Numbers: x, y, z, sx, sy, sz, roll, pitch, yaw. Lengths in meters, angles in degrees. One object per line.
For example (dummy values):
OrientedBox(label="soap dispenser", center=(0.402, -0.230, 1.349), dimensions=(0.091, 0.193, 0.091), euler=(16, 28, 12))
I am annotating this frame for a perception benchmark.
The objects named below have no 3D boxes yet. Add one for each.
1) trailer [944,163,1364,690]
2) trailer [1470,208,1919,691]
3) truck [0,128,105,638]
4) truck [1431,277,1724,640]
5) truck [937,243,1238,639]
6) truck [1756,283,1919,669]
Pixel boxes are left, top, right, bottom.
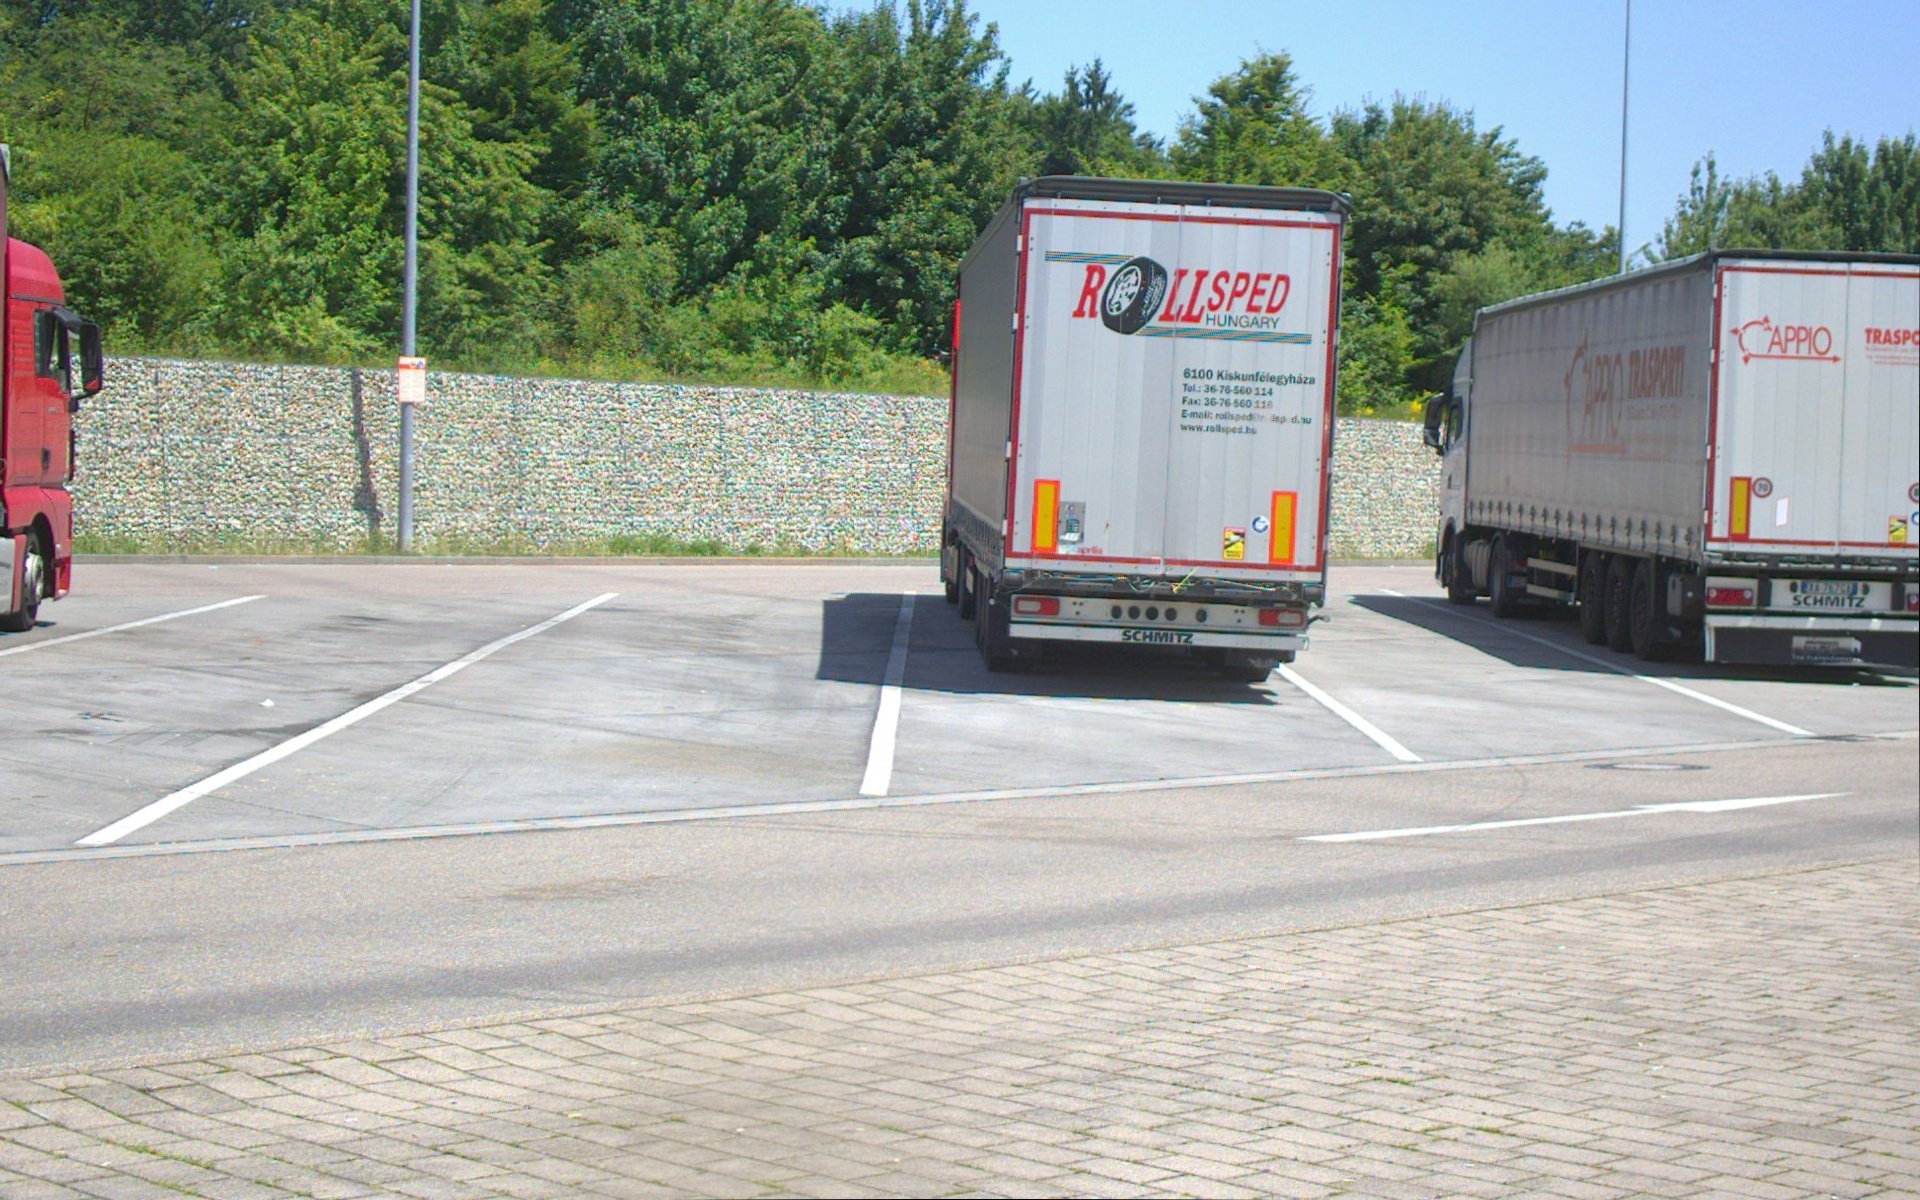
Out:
OrientedBox(label="trailer", center=(1.456, -1.504, 31.946), dimensions=(2.897, 4.000, 11.319), euler=(1, 2, -2))
OrientedBox(label="trailer", center=(8.125, -1.586, 38.163), dimensions=(2.681, 4.437, 12.831), euler=(1, 2, -1))
OrientedBox(label="truck", center=(-9.162, -1.780, 28.351), dimensions=(2.805, 4.119, 5.894), euler=(1, 2, -1))
OrientedBox(label="truck", center=(7.991, -1.833, 45.208), dimensions=(2.661, 4.437, 5.864), euler=(1, 2, -1))
OrientedBox(label="truck", center=(1.264, -1.698, 37.693), dimensions=(2.871, 3.967, 6.030), euler=(1, 2, -2))
OrientedBox(label="truck", center=(11.742, -1.348, 38.730), dimensions=(2.587, 4.211, 11.971), euler=(1, 1, -1))
